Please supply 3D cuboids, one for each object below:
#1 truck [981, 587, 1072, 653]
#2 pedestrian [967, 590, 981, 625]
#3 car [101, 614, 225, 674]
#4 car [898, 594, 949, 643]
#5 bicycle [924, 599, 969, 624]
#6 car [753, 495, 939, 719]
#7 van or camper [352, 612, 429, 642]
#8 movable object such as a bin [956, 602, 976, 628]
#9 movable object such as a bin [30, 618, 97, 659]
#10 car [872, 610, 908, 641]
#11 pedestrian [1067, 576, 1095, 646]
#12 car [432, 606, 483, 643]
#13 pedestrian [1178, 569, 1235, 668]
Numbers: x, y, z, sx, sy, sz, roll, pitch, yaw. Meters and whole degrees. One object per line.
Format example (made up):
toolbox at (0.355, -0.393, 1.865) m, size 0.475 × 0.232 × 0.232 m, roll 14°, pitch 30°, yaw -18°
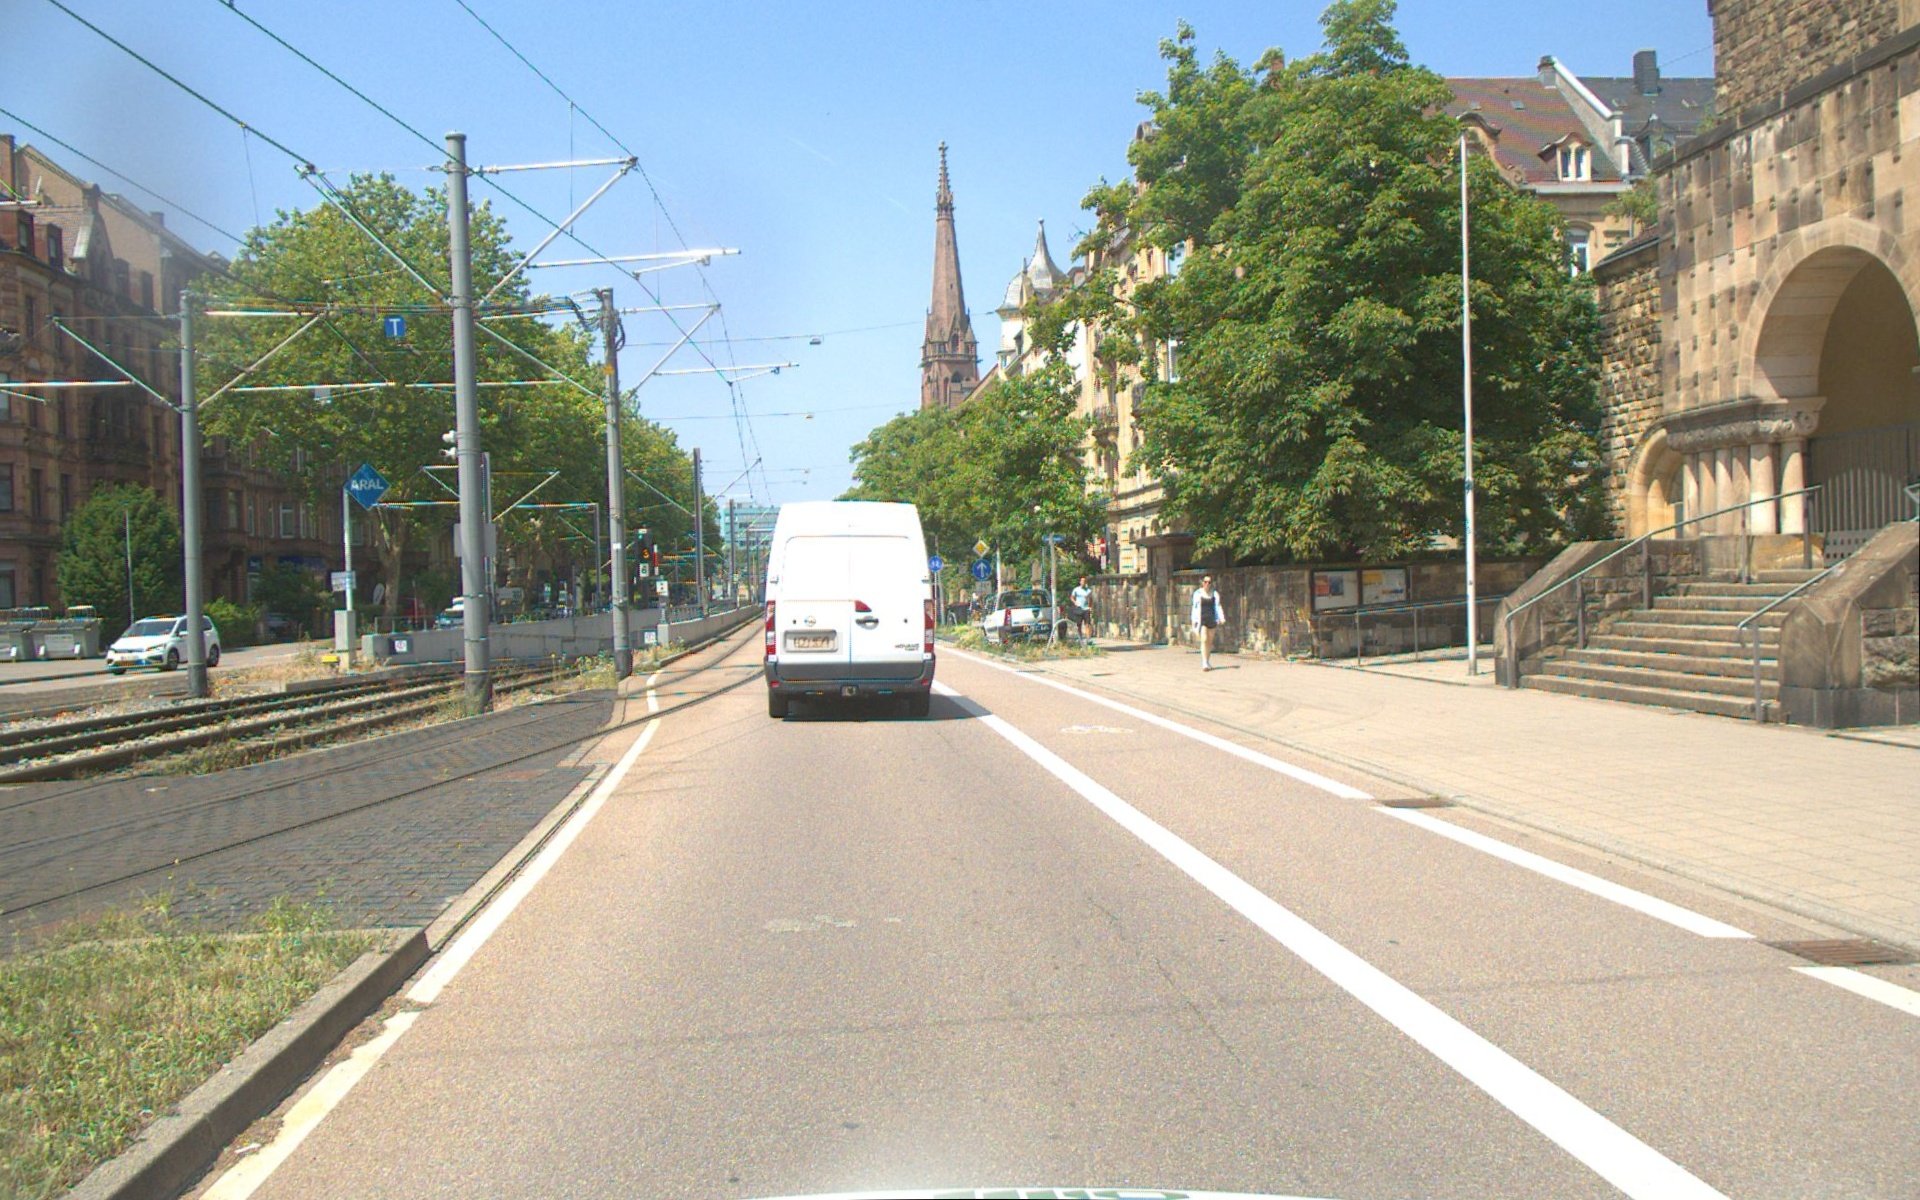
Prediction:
truck at (1.658, 0.500, 42.538) m, size 1.755 × 1.553 × 4.460 m, roll -1°, pitch 0°, yaw -5°
pedestrian at (0.643, 0.339, 76.596) m, size 0.541 × 1.626 × 0.727 m, roll -1°, pitch 0°, yaw -4°
car at (-24.297, 1.309, 50.622) m, size 1.811 × 1.653 × 4.597 m, roll -3°, pitch 0°, yaw -5°
car at (-1.654, 0.807, 73.065) m, size 1.843 × 1.981 × 4.830 m, roll -3°, pitch 0°, yaw -6°
bicycle at (-0.563, 0.487, 69.307) m, size 1.850 × 1.009 × 0.468 m, roll -1°, pitch 0°, yaw -16°
car at (-1.554, 0.086, 21.378) m, size 2.076 × 2.502 × 5.047 m, roll -1°, pitch 0°, yaw -6°
van or camper at (-38.052, 1.800, 110.578) m, size 4.451 × 1.869 × 1.932 m, roll -1°, pitch 0°, yaw 0°
movable object such as a bin at (0.247, 0.610, 66.595) m, size 0.771 × 1.031 × 0.650 m, roll -1°, pitch 0°, yaw 0°
movable object such as a bin at (-33.358, 1.430, 61.559) m, size 1.749 × 1.409 × 1.467 m, roll -2°, pitch 0°, yaw -8°
car at (-3.730, 1.351, 87.829) m, size 1.635 × 1.557 × 4.008 m, roll -2°, pitch 0°, yaw -6°
pedestrian at (3.144, 0.285, 43.153) m, size 0.609 × 1.785 × 0.678 m, roll -1°, pitch 0°, yaw -4°
car at (-27.220, 1.308, 89.705) m, size 1.956 × 1.938 × 4.708 m, roll -1°, pitch 0°, yaw -9°
pedestrian at (4.326, 0.322, 29.073) m, size 0.778 × 1.679 × 0.966 m, roll -1°, pitch 0°, yaw -4°
